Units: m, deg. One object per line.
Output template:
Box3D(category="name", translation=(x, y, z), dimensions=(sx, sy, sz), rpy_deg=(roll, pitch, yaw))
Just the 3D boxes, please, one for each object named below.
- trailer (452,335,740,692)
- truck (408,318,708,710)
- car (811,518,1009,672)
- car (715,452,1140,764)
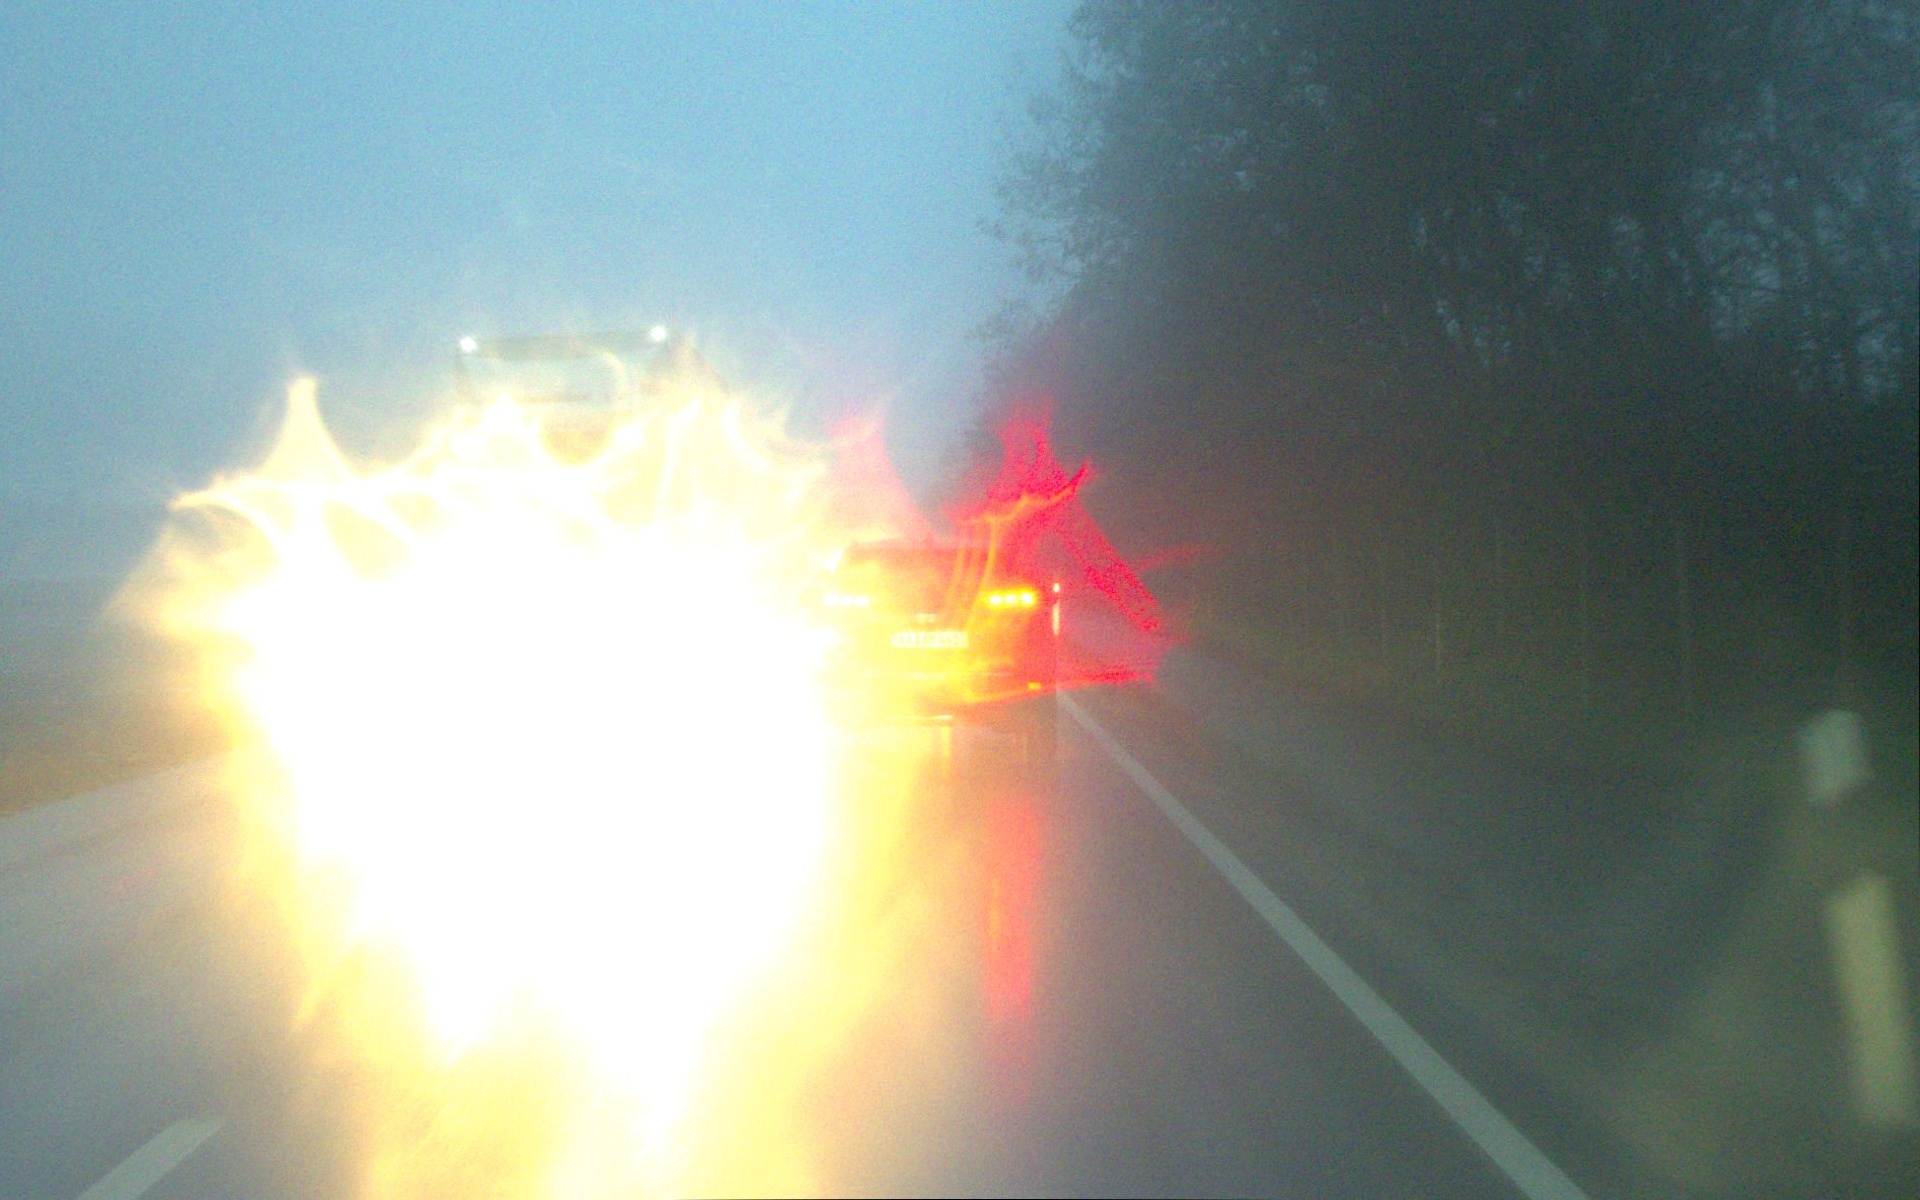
Box3D(category="trailer", translation=(-4.616, -1.129, 46.054), dimensions=(2.701, 4.066, 12.382), rpy_deg=(-2, 1, -1))
Box3D(category="truck", translation=(-4.501, -0.982, 39.769), dimensions=(2.725, 4.091, 6.589), rpy_deg=(-2, 1, -1))
Box3D(category="car", translation=(-0.662, -0.100, 47.995), dimensions=(2.592, 2.007, 5.804), rpy_deg=(0, 1, 0))
Box3D(category="car", translation=(-0.228, 0.015, 25.853), dimensions=(2.820, 2.070, 5.804), rpy_deg=(0, 1, 0))
